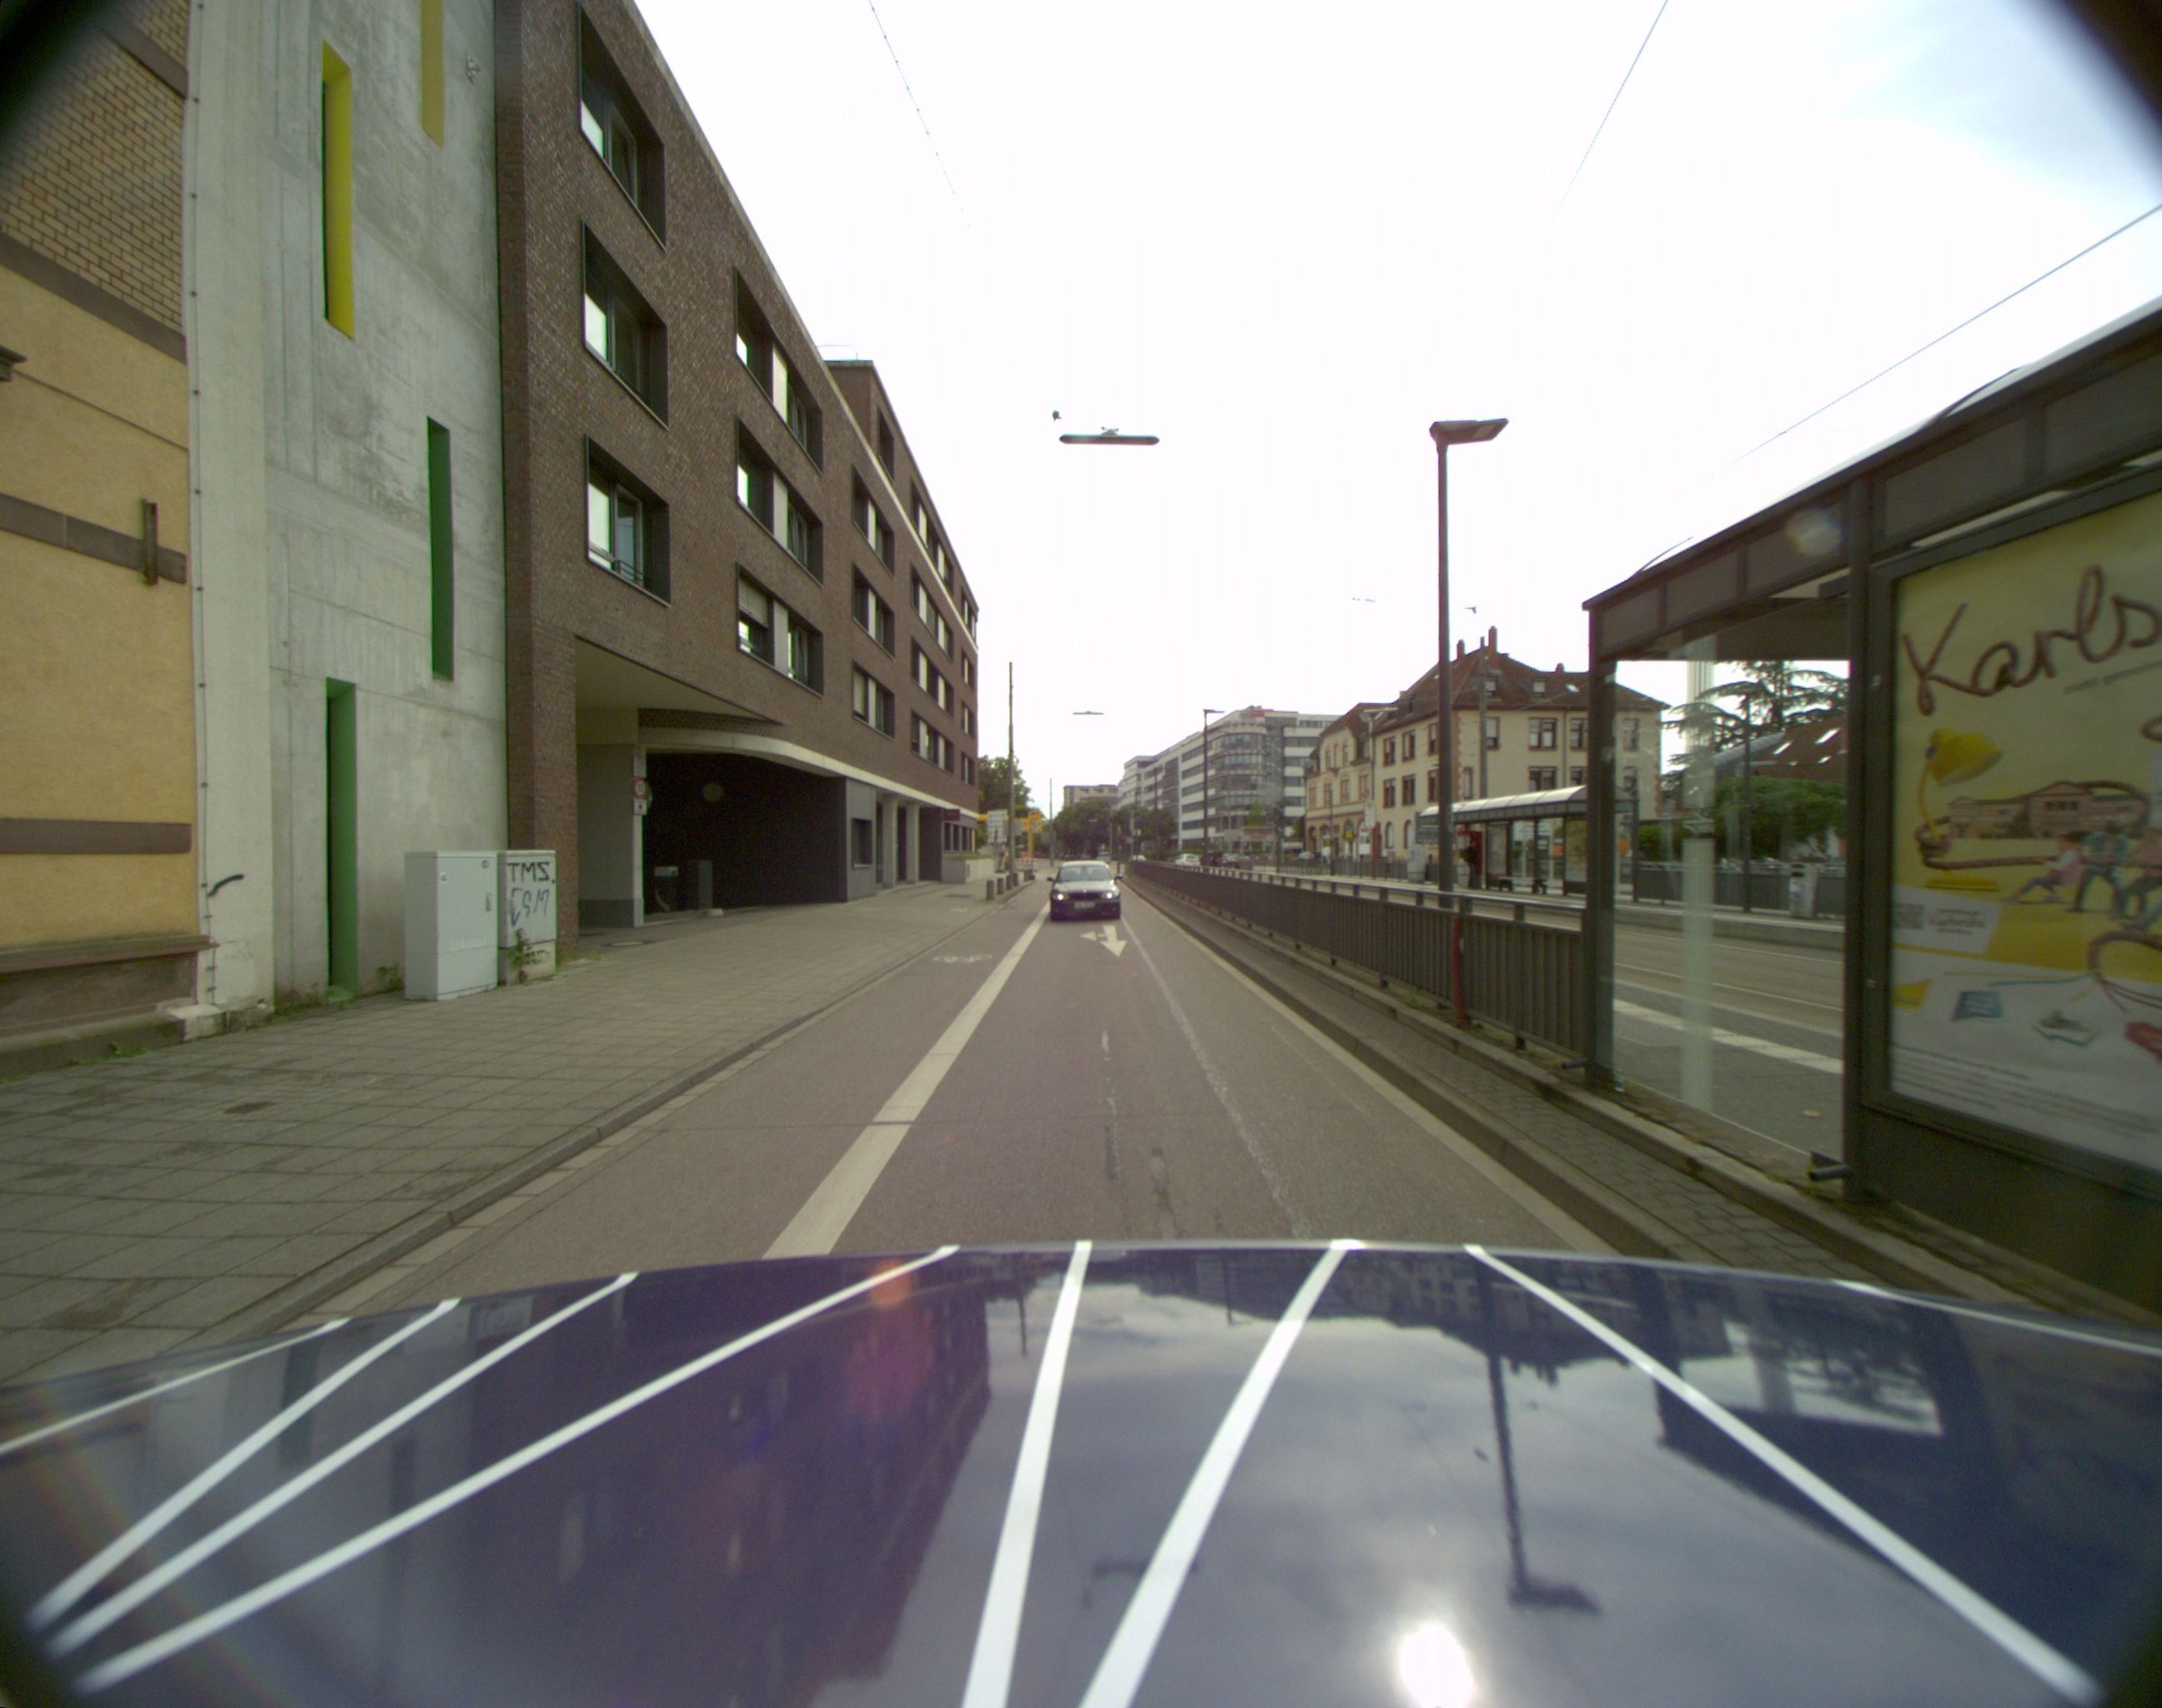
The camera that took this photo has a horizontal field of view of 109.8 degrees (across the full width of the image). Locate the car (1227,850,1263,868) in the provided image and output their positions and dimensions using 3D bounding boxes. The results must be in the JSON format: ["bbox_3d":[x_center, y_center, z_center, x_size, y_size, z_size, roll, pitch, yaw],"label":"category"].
[{"bbox_3d":[13.856,0.408,64.422,1.768,1.443,3.997,1,1,-6],"label":"car"}]

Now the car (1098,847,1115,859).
[{"bbox_3d":[4.105,-0.150,123.193,1.891,1.977,4.521,0,1,-9],"label":"car"}]

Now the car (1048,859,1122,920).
[{"bbox_3d":[0.135,0.876,20.524,1.786,1.361,4.112,-1,1,1],"label":"car"}]

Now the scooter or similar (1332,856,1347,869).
[{"bbox_3d":[21.688,0.702,63.694,1.180,1.095,0.526,-2,1,-33],"label":"scooter or similar"}]

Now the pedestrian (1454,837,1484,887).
[{"bbox_3d":[13.023,0.264,25.509,0.698,1.655,0.616,-2,2,-33],"label":"pedestrian"}]

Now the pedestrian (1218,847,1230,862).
[{"bbox_3d":[19.752,0.085,104.957,1.217,2.002,1.186,0,1,-19],"label":"pedestrian"}]

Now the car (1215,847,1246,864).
[{"bbox_3d":[16.395,0.216,83.473,2.043,1.739,4.532,-2,0,-7],"label":"car"}]

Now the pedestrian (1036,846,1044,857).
[{"bbox_3d":[-6.649,-0.449,122.056,0.871,1.738,0.848,2,1,-32],"label":"pedestrian"}]

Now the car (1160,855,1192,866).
[{"bbox_3d":[13.285,0.949,106.103,3.977,1.443,1.819,0,1,25],"label":"car"}]

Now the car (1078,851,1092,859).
[{"bbox_3d":[0.703,0.096,142.810,1.888,1.420,4.420,1,1,-9],"label":"car"}]

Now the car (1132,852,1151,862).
[{"bbox_3d":[8.074,0.426,101.695,1.756,1.291,3.829,0,1,-9],"label":"car"}]

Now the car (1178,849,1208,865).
[{"bbox_3d":[11.526,0.286,78.548,1.870,1.477,3.996,2,0,-10],"label":"car"}]

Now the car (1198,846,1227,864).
[{"bbox_3d":[15.379,0.095,89.087,1.992,2.002,5.181,-2,1,-5],"label":"car"}]

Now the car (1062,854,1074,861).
[{"bbox_3d":[-2.976,0.755,170.087,1.911,1.464,4.815,1,0,-10],"label":"car"}]

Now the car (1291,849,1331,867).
[{"bbox_3d":[21.873,0.386,72.445,1.999,1.484,4.900,-5,1,-4],"label":"car"}]

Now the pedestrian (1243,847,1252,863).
[{"bbox_3d":[19.149,0.058,87.314,0.806,1.815,1.059,-1,1,-3],"label":"pedestrian"}]
